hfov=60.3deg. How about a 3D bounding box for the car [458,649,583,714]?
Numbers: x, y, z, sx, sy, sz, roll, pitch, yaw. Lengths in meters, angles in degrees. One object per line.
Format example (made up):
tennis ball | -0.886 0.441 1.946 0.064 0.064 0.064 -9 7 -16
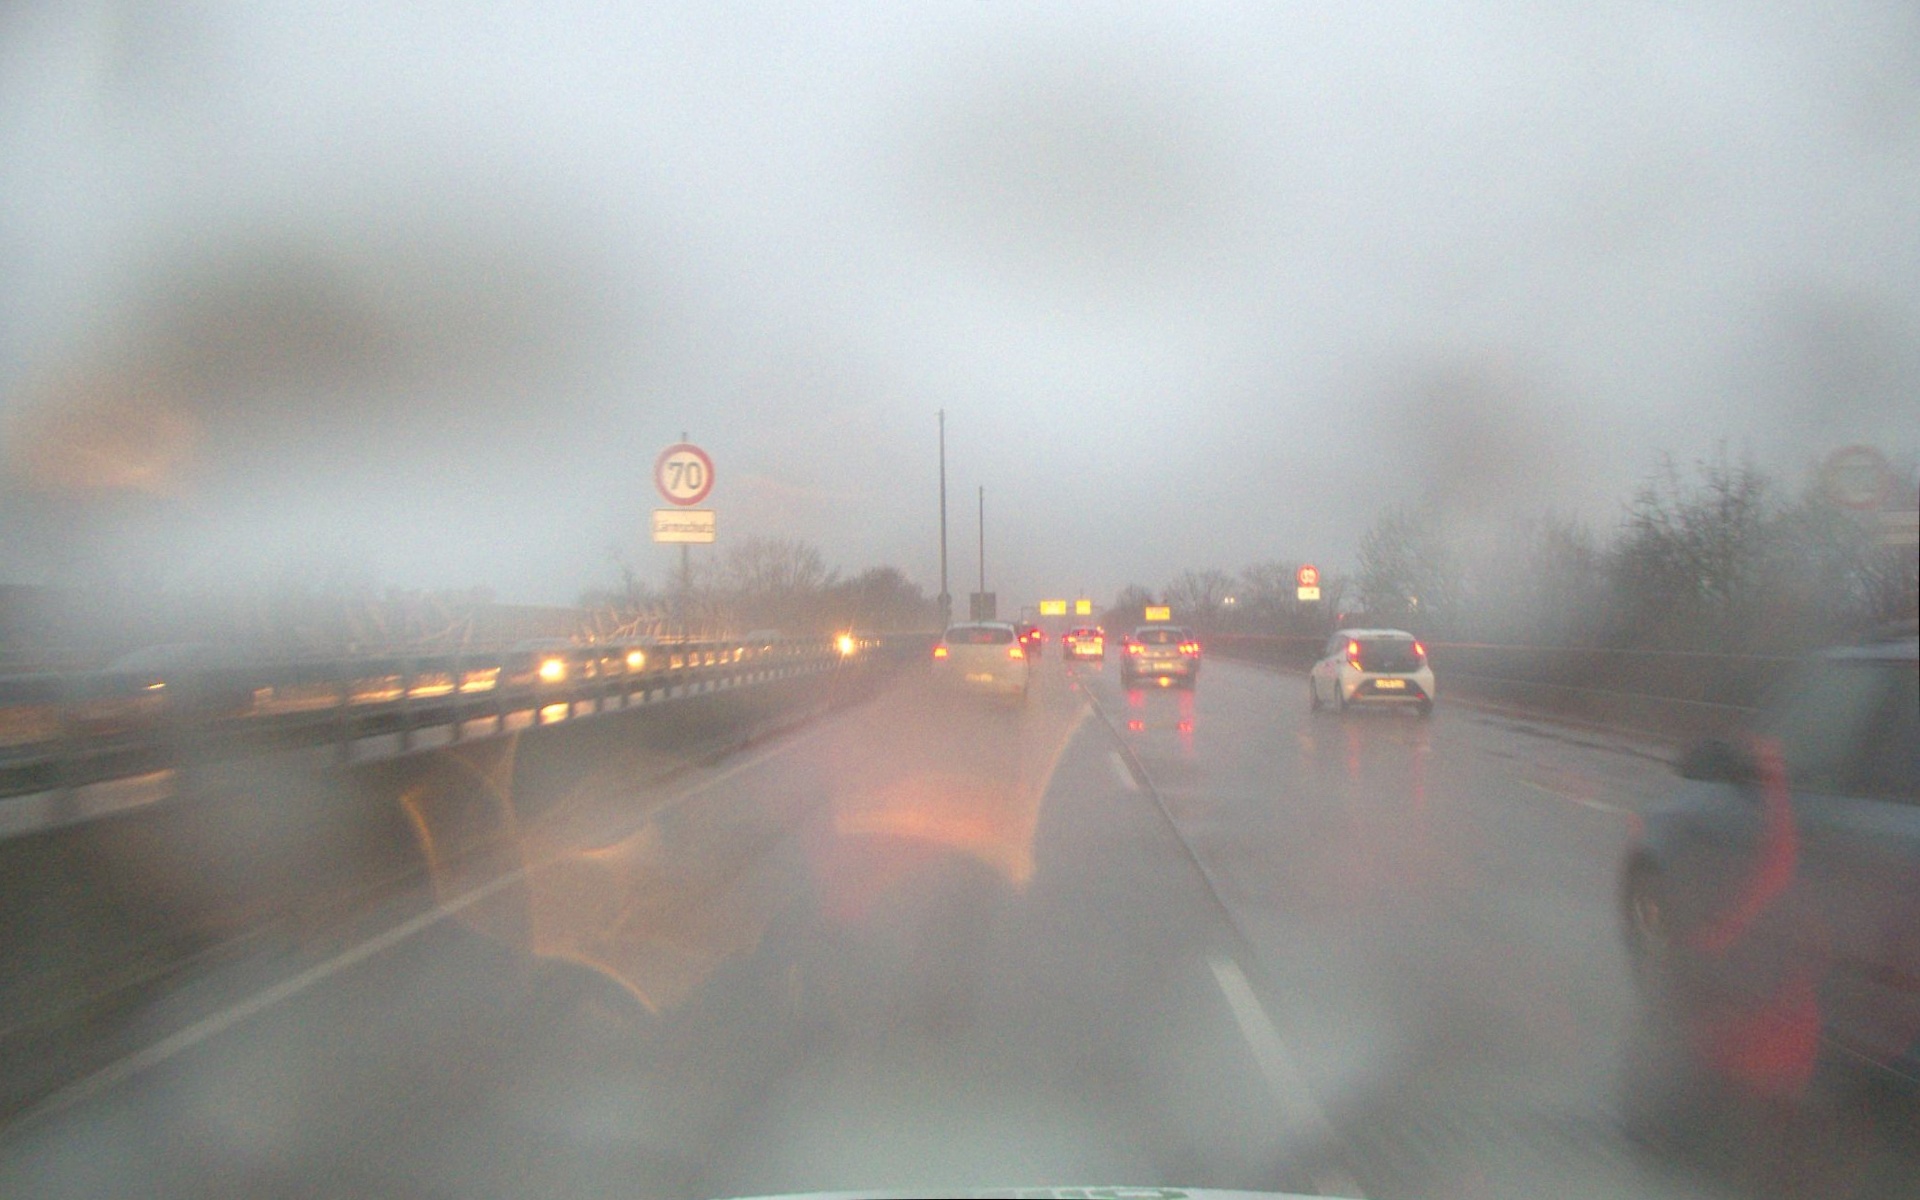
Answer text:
car | -11.384 2.081 43.162 1.855 1.490 4.830 -1 -1 1

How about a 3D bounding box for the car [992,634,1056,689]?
car | 2.060 1.924 53.021 1.952 1.629 4.309 1 -1 2

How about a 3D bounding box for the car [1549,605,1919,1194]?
car | 3.500 0.778 5.222 1.952 1.527 4.139 -1 -1 3

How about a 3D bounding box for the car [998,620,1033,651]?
car | 2.914 1.860 86.858 1.752 1.572 4.001 -1 -1 2

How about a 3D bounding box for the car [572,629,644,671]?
car | -13.522 1.899 63.707 1.855 1.490 4.000 -1 -1 1

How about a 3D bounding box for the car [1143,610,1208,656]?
car | 7.674 1.159 59.285 1.753 1.572 3.999 -1 -1 -1

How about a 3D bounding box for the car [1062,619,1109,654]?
car | 5.748 1.662 75.866 1.753 1.572 3.999 0 -1 -1

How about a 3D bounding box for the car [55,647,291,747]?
car | -13.517 1.614 28.733 1.855 1.490 4.460 -1 -1 1

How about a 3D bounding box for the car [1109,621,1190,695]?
car | 4.865 1.462 42.947 1.857 1.798 4.310 -1 -1 4

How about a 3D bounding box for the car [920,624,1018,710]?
car | 0.180 1.196 30.790 1.688 1.465 4.225 0 -1 0

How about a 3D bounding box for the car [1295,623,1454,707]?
car | 7.385 1.122 29.856 1.952 1.369 4.001 0 -1 2

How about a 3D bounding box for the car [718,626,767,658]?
car | -10.885 2.090 83.139 1.855 1.490 4.000 -1 -1 1
